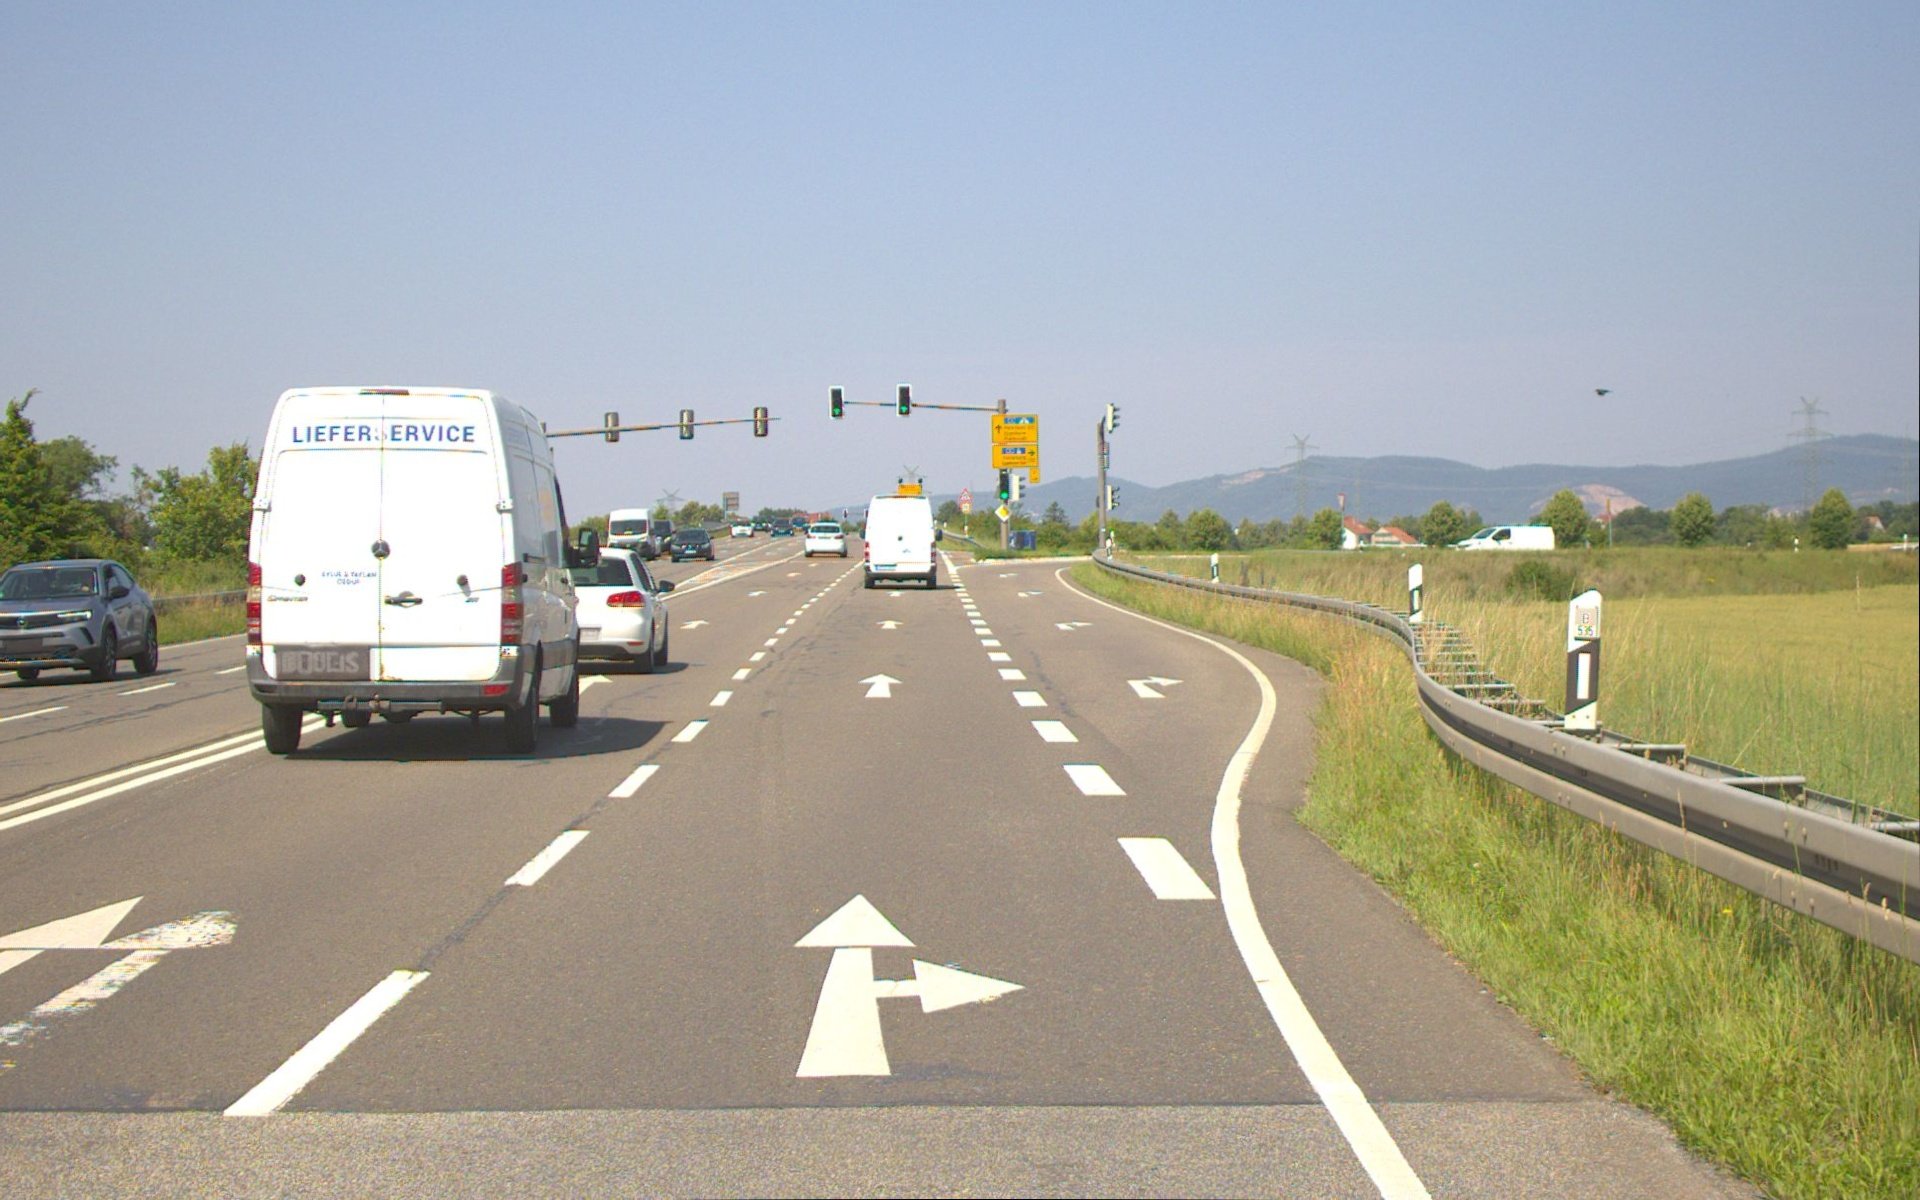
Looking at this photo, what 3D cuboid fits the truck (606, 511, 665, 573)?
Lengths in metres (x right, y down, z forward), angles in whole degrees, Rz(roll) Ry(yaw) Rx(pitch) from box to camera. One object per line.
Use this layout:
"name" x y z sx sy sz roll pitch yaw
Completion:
"truck" -15.675 -2.782 166.437 2.297 2.947 5.283 0 0 0

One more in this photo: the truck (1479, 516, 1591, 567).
"truck" 27.385 -2.781 163.736 4.842 2.312 2.001 1 0 -15

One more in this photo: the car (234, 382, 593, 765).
"car" -4.077 -0.240 26.590 2.039 2.611 5.742 1 1 -2

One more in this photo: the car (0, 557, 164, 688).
"car" -11.435 0.262 43.503 1.819 1.503 4.127 -3 1 -2

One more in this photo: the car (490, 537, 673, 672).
"car" -4.478 0.012 41.187 1.799 1.503 4.196 0 1 -1

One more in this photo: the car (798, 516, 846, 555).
"car" -6.184 -2.884 154.446 1.993 1.697 4.275 1 0 -1

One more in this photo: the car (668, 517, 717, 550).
"car" -12.096 -3.019 155.724 1.857 1.418 4.000 0 0 0

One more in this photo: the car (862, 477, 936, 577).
"car" -1.692 -2.008 95.358 1.993 2.686 4.970 -1 1 -1
